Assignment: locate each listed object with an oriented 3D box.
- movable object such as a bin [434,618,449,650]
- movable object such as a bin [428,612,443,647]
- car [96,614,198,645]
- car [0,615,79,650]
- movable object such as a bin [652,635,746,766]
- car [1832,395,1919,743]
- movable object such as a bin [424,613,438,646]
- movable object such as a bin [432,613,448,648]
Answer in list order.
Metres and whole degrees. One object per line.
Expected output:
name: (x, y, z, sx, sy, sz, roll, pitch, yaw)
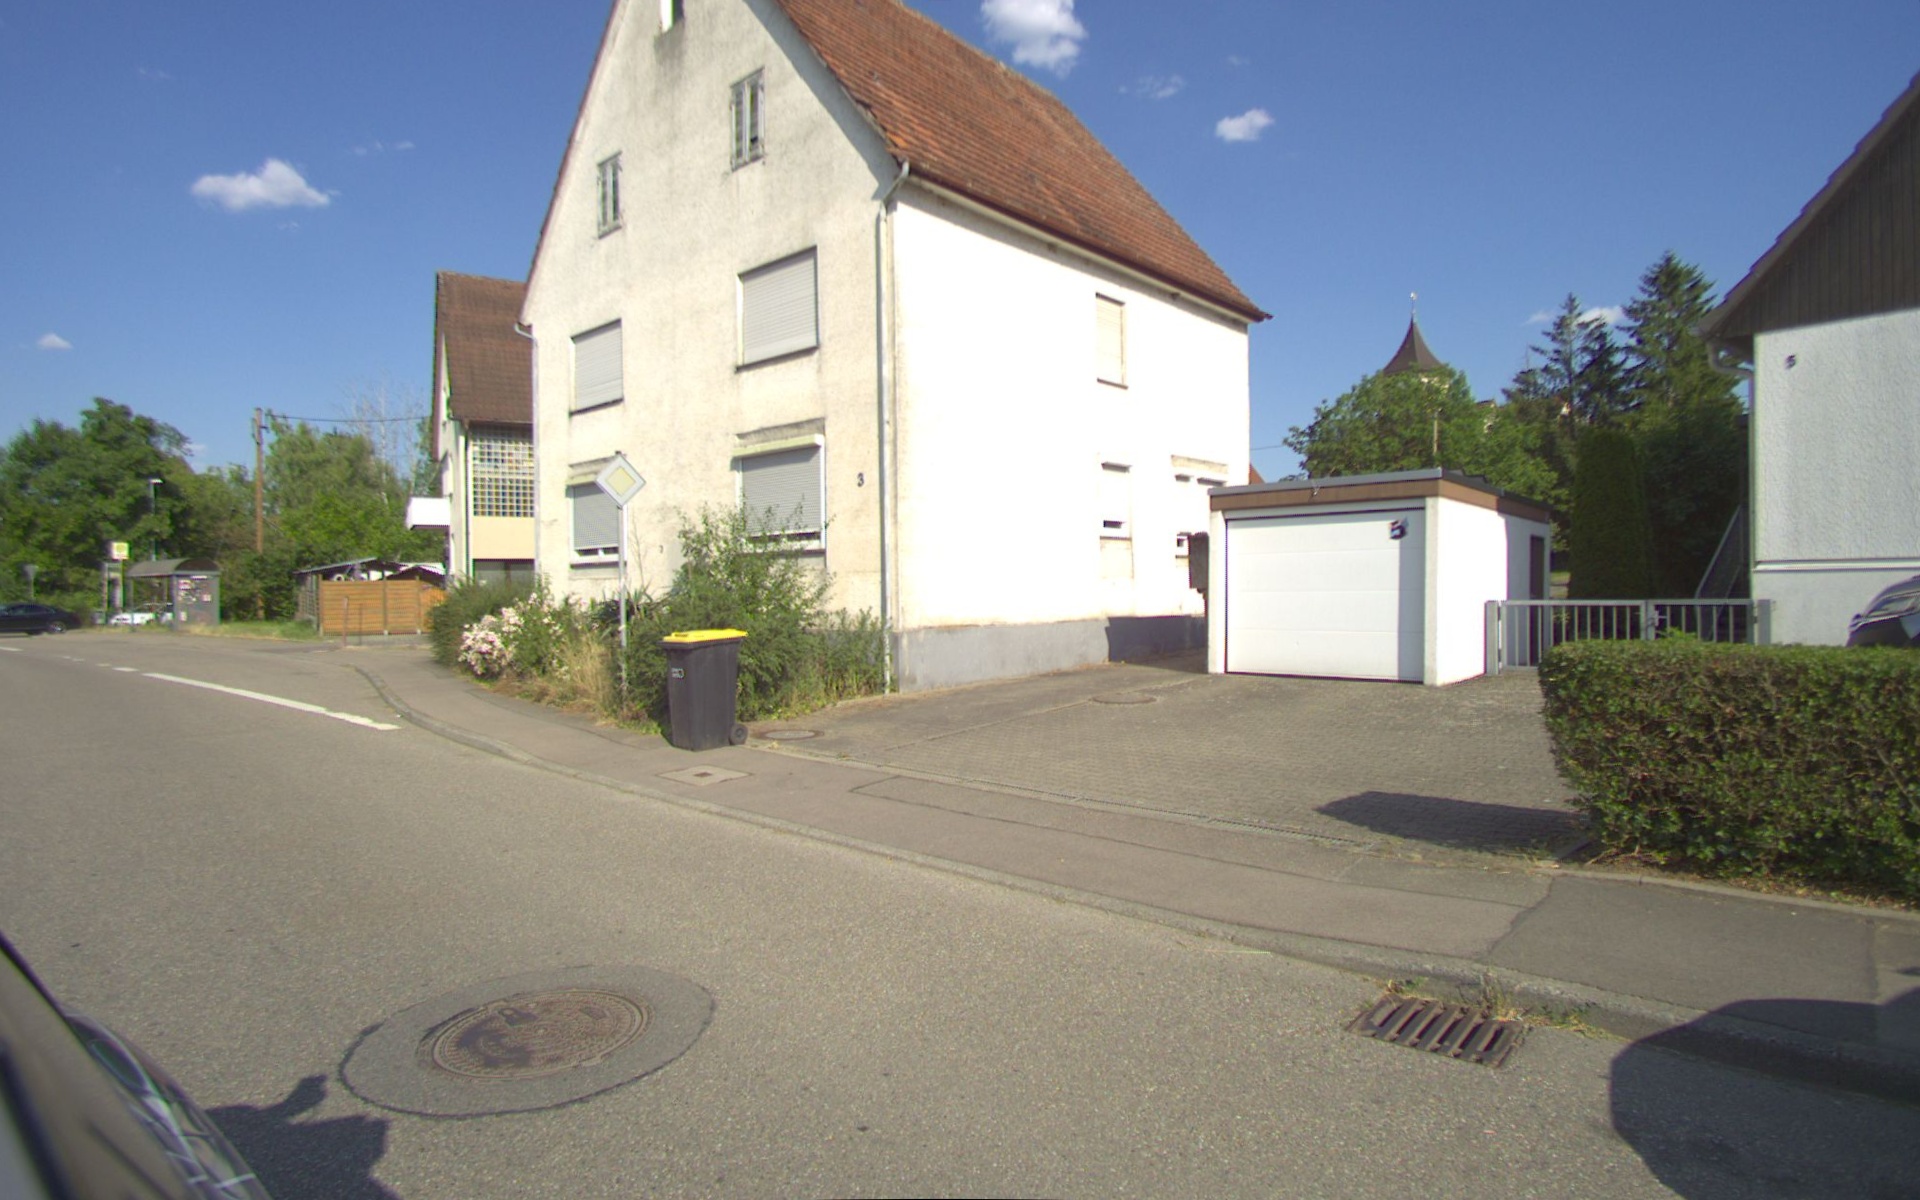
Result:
movable object such as a bin: (-15.664, 1.026, 30.581, 0.356, 0.932, 0.401, -1, 1, -33)
movable object such as a bin: (-16.354, 0.923, 31.574, 0.356, 1.049, 0.559, -1, 1, -33)
car: (-42.708, 1.509, 53.274, 1.837, 1.503, 4.272, 0, 0, 3)
car: (-41.949, 1.444, 44.362, 1.757, 1.442, 4.815, 0, 0, 18)
movable object such as a bin: (-2.423, 0.907, 9.394, 0.575, 1.109, 0.604, 0, 2, 41)
car: (9.763, -0.299, 6.535, 2.134, 2.615, 6.097, -2, 1, -45)
movable object such as a bin: (-16.746, 0.934, 32.031, 0.356, 1.023, 0.559, -1, 1, -33)
movable object such as a bin: (-15.974, 0.941, 31.075, 0.356, 1.030, 0.578, -1, 1, -33)
